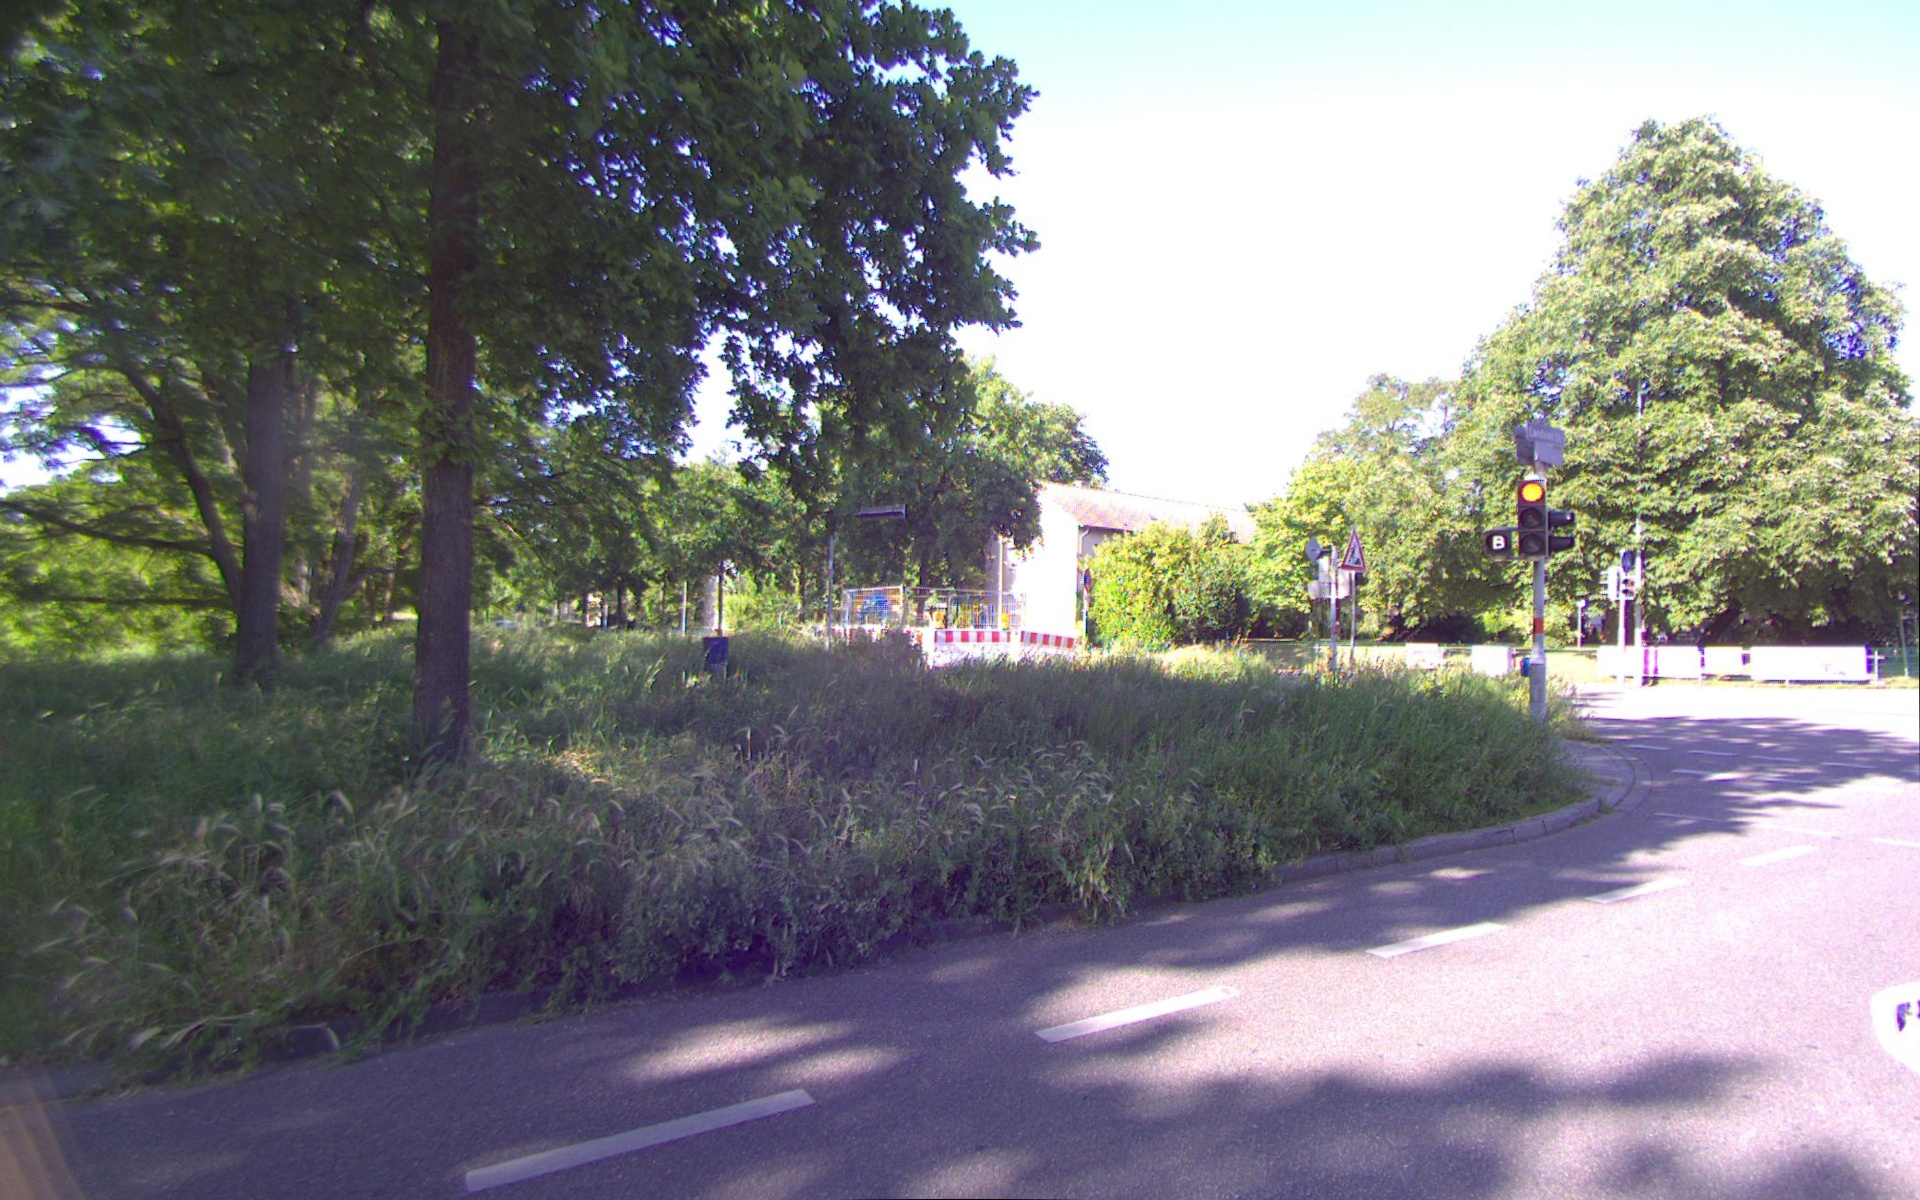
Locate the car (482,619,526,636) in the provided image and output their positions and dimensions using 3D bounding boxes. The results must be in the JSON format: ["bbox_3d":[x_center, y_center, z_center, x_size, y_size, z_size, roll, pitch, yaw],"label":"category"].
[{"bbox_3d":[-47.378,2.853,104.490,3.939,1.673,1.991,2,0,-20],"label":"car"}]
